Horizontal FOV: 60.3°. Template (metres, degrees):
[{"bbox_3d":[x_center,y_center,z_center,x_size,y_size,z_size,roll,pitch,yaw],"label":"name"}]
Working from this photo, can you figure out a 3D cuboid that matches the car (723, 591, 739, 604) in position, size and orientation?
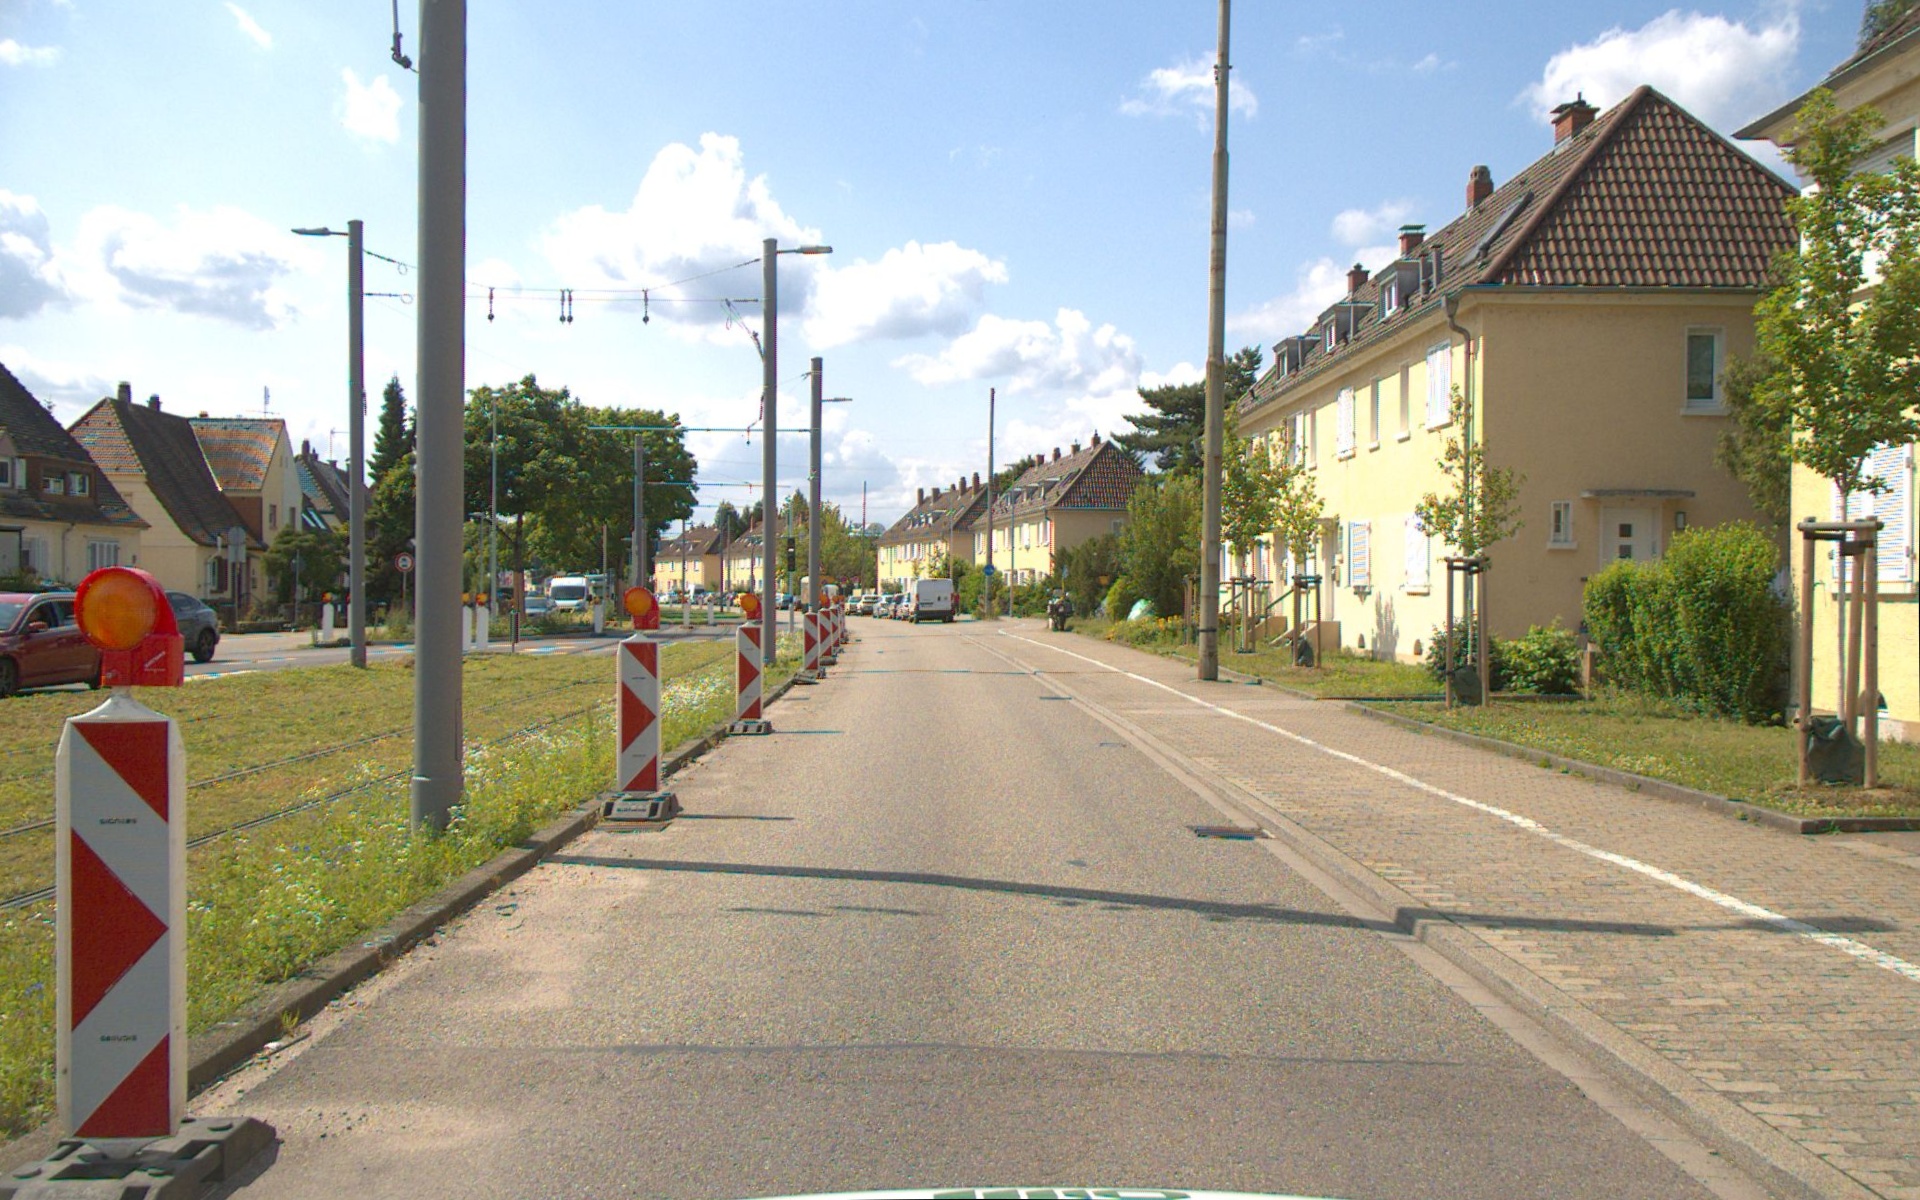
[{"bbox_3d":[-25.872,-0.297,187.061,1.239,1.451,2.648,0,0,-21],"label":"car"}]

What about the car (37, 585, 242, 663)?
[{"bbox_3d":[-17.512,0.485,35.596,1.804,1.561,4.741,0,0,4],"label":"car"}]

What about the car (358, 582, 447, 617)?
[{"bbox_3d":[-29.347,-0.028,87.201,4.028,1.807,2.099,0,0,-5],"label":"car"}]

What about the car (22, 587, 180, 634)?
[{"bbox_3d":[-27.680,0.328,53.383,4.024,1.492,1.990,0,0,-2],"label":"car"}]

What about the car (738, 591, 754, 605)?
[{"bbox_3d":[-23.389,-0.229,180.686,1.239,1.451,2.650,0,0,-19],"label":"car"}]

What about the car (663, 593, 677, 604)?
[{"bbox_3d":[-37.635,-0.235,214.629,1.240,1.451,2.647,0,0,-23],"label":"car"}]

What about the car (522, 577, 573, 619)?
[{"bbox_3d":[-18.603,-0.086,74.718,2.057,1.807,4.109,0,0,-12],"label":"car"}]

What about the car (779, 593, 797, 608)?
[{"bbox_3d":[-16.727,0.029,160.399,1.238,1.451,2.652,0,0,-18],"label":"car"}]

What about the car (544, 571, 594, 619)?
[{"bbox_3d":[-20.298,-0.261,86.040,2.364,2.379,4.865,0,0,-12],"label":"car"}]

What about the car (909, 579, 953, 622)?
[{"bbox_3d":[-1.524,0.027,86.179,2.025,2.186,4.874,0,0,-4],"label":"car"}]

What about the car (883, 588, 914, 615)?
[{"bbox_3d":[-3.789,0.088,100.979,1.538,1.578,3.782,0,0,-8],"label":"car"}]

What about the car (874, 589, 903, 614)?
[{"bbox_3d":[-4.600,0.100,106.338,1.538,1.578,3.782,0,0,-8],"label":"car"}]

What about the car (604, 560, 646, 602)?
[{"bbox_3d":[-19.924,-1.118,98.359,2.364,2.411,4.865,0,1,-12],"label":"car"}]

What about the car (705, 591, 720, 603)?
[{"bbox_3d":[-29.369,-0.397,195.968,1.239,1.374,2.648,0,0,-21],"label":"car"}]

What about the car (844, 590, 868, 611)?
[{"bbox_3d":[-7.838,0.057,124.637,1.538,1.578,3.472,0,0,-8],"label":"car"}]

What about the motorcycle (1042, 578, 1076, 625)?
[{"bbox_3d":[3.598,0.049,60.301,1.045,1.664,2.082,0,0,-3],"label":"motorcycle"}]

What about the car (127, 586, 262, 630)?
[{"bbox_3d":[-26.654,0.266,57.674,3.907,1.422,1.704,1,1,-2],"label":"car"}]

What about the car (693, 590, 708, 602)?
[{"bbox_3d":[-31.401,-0.473,200.154,1.150,1.451,2.647,0,0,-22],"label":"car"}]

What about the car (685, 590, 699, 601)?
[{"bbox_3d":[-33.055,-0.546,204.289,1.150,1.451,2.647,0,0,-22],"label":"car"}]

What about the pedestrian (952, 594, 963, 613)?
[{"bbox_3d":[-0.171,0.230,107.383,0.620,1.277,0.725,0,0,-10],"label":"pedestrian"}]

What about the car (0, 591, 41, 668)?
[{"bbox_3d":[-17.987,0.532,28.344,1.805,1.366,4.778,0,0,0],"label":"car"}]

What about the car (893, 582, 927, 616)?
[{"bbox_3d":[-2.897,-0.070,95.715,1.538,1.930,3.782,0,0,-8],"label":"car"}]

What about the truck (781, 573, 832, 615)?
[{"bbox_3d":[-13.748,-0.528,147.894,2.599,3.555,9.390,0,0,-18],"label":"truck"}]

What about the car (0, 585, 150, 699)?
[{"bbox_3d":[-13.771,0.555,23.909,1.806,1.520,4.855,0,0,-1],"label":"car"}]

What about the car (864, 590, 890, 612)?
[{"bbox_3d":[-5.930,0.067,118.376,1.538,1.578,3.472,0,0,-8],"label":"car"}]
